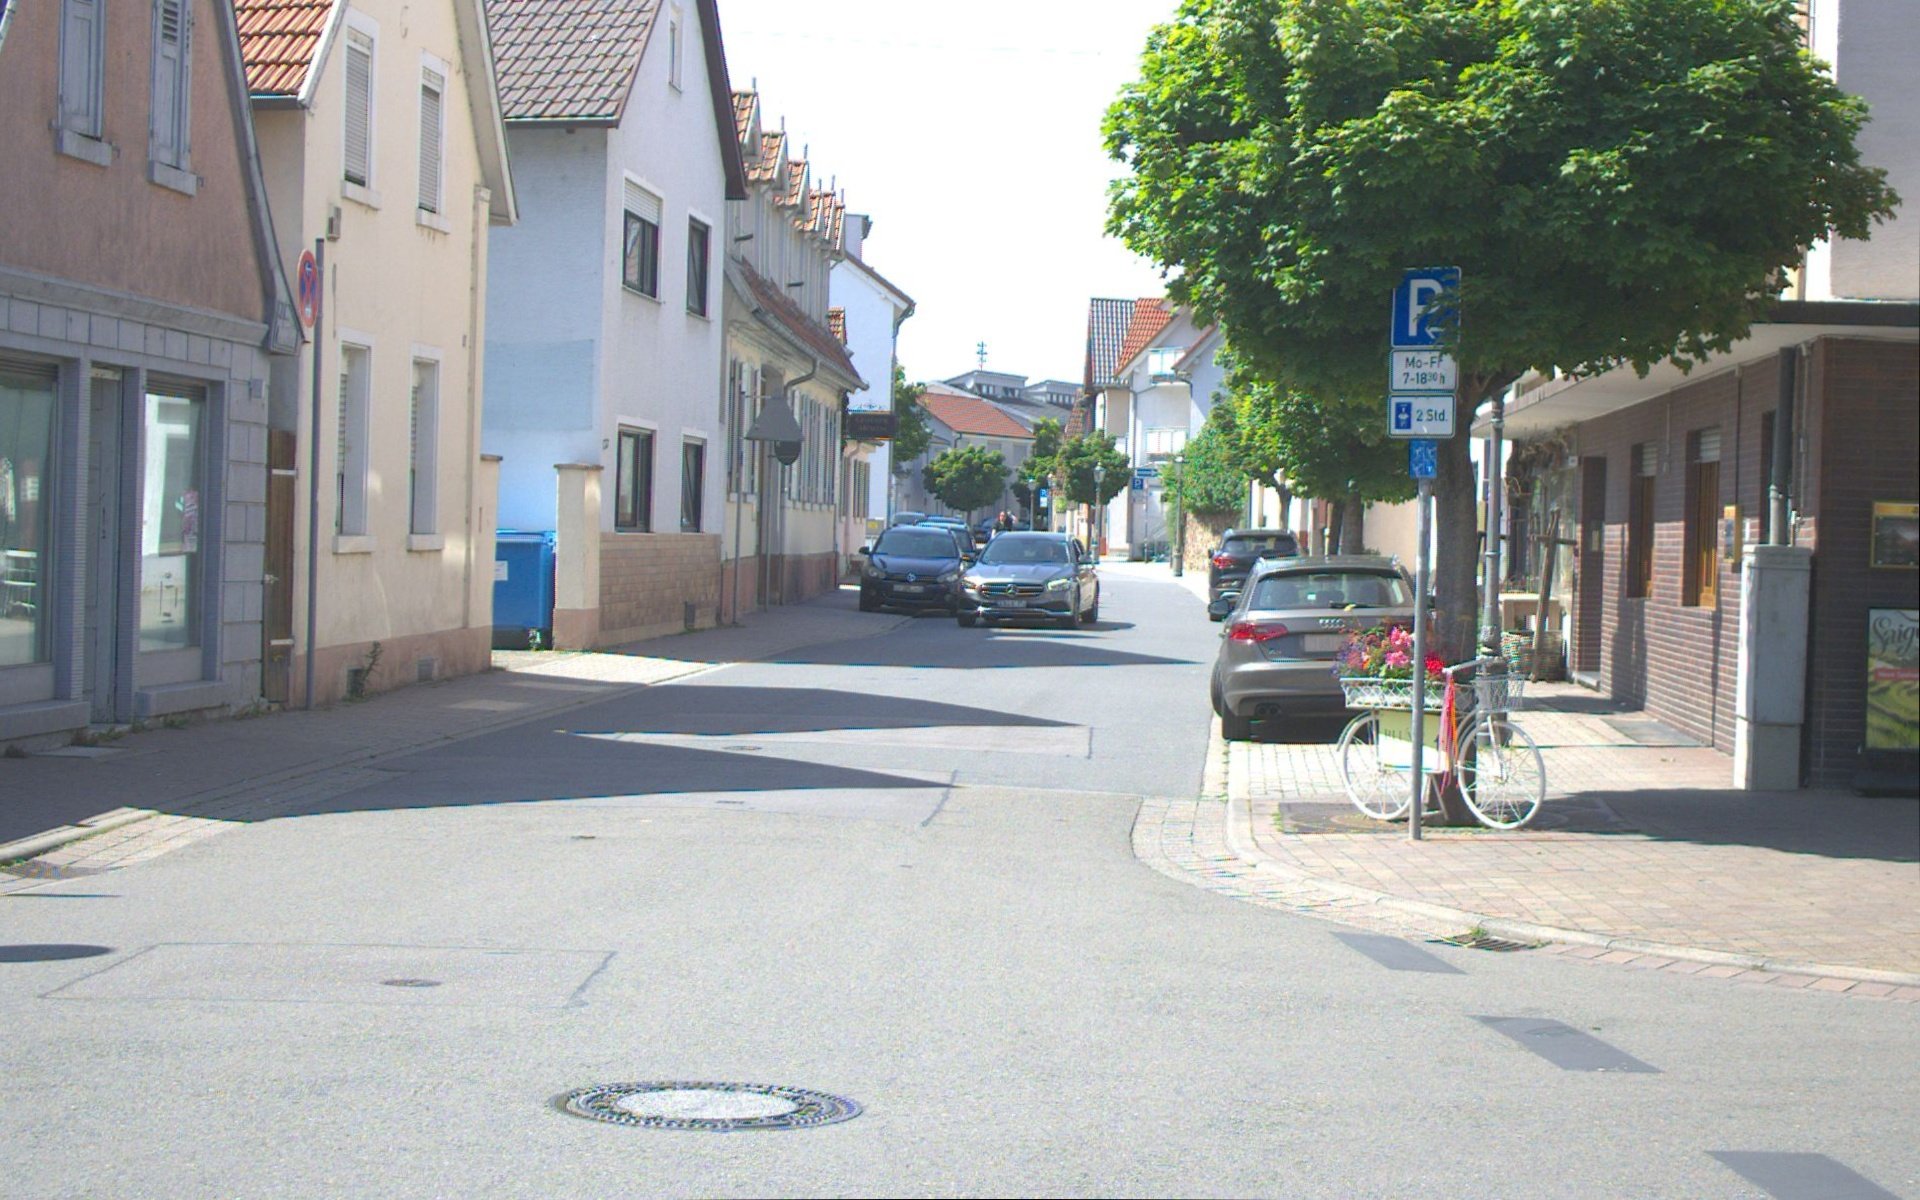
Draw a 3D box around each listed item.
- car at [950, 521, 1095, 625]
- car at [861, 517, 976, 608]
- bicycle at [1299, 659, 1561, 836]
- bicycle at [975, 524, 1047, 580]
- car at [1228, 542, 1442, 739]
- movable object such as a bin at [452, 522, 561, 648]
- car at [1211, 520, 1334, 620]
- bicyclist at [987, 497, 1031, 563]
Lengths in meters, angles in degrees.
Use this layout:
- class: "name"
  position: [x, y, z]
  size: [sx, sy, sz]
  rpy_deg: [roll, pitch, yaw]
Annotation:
- class: "car"
  position: [1.042, -0.467, 54.635]
  size: [1.909, 1.476, 4.844]
  rpy_deg: [1, 2, 5]
- class: "car"
  position: [-0.672, -0.663, 58.989]
  size: [1.663, 1.471, 4.134]
  rpy_deg: [1, 1, 3]
- class: "bicycle"
  position: [2.588, 0.797, 19.002]
  size: [1.413, 0.894, 0.464]
  rpy_deg: [1, 2, 41]
- class: "bicycle"
  position: [1.280, -1.235, 87.448]
  size: [1.623, 1.366, 3.926]
  rpy_deg: [1, 1, -2]
- class: "car"
  position: [2.997, 0.275, 27.614]
  size: [1.576, 1.449, 3.485]
  rpy_deg: [1, 1, 6]
- class: "movable object such as a bin"
  position: [-4.994, -0.172, 37.851]
  size: [1.102, 1.361, 0.390]
  rpy_deg: [1, 1, 8]
- class: "car"
  position: [5.532, -0.562, 61.374]
  size: [2.043, 1.683, 4.841]
  rpy_deg: [1, 1, 4]
- class: "bicyclist"
  position: [1.241, -1.781, 87.055]
  size: [1.046, 1.632, 1.128]
  rpy_deg: [1, 1, -2]
